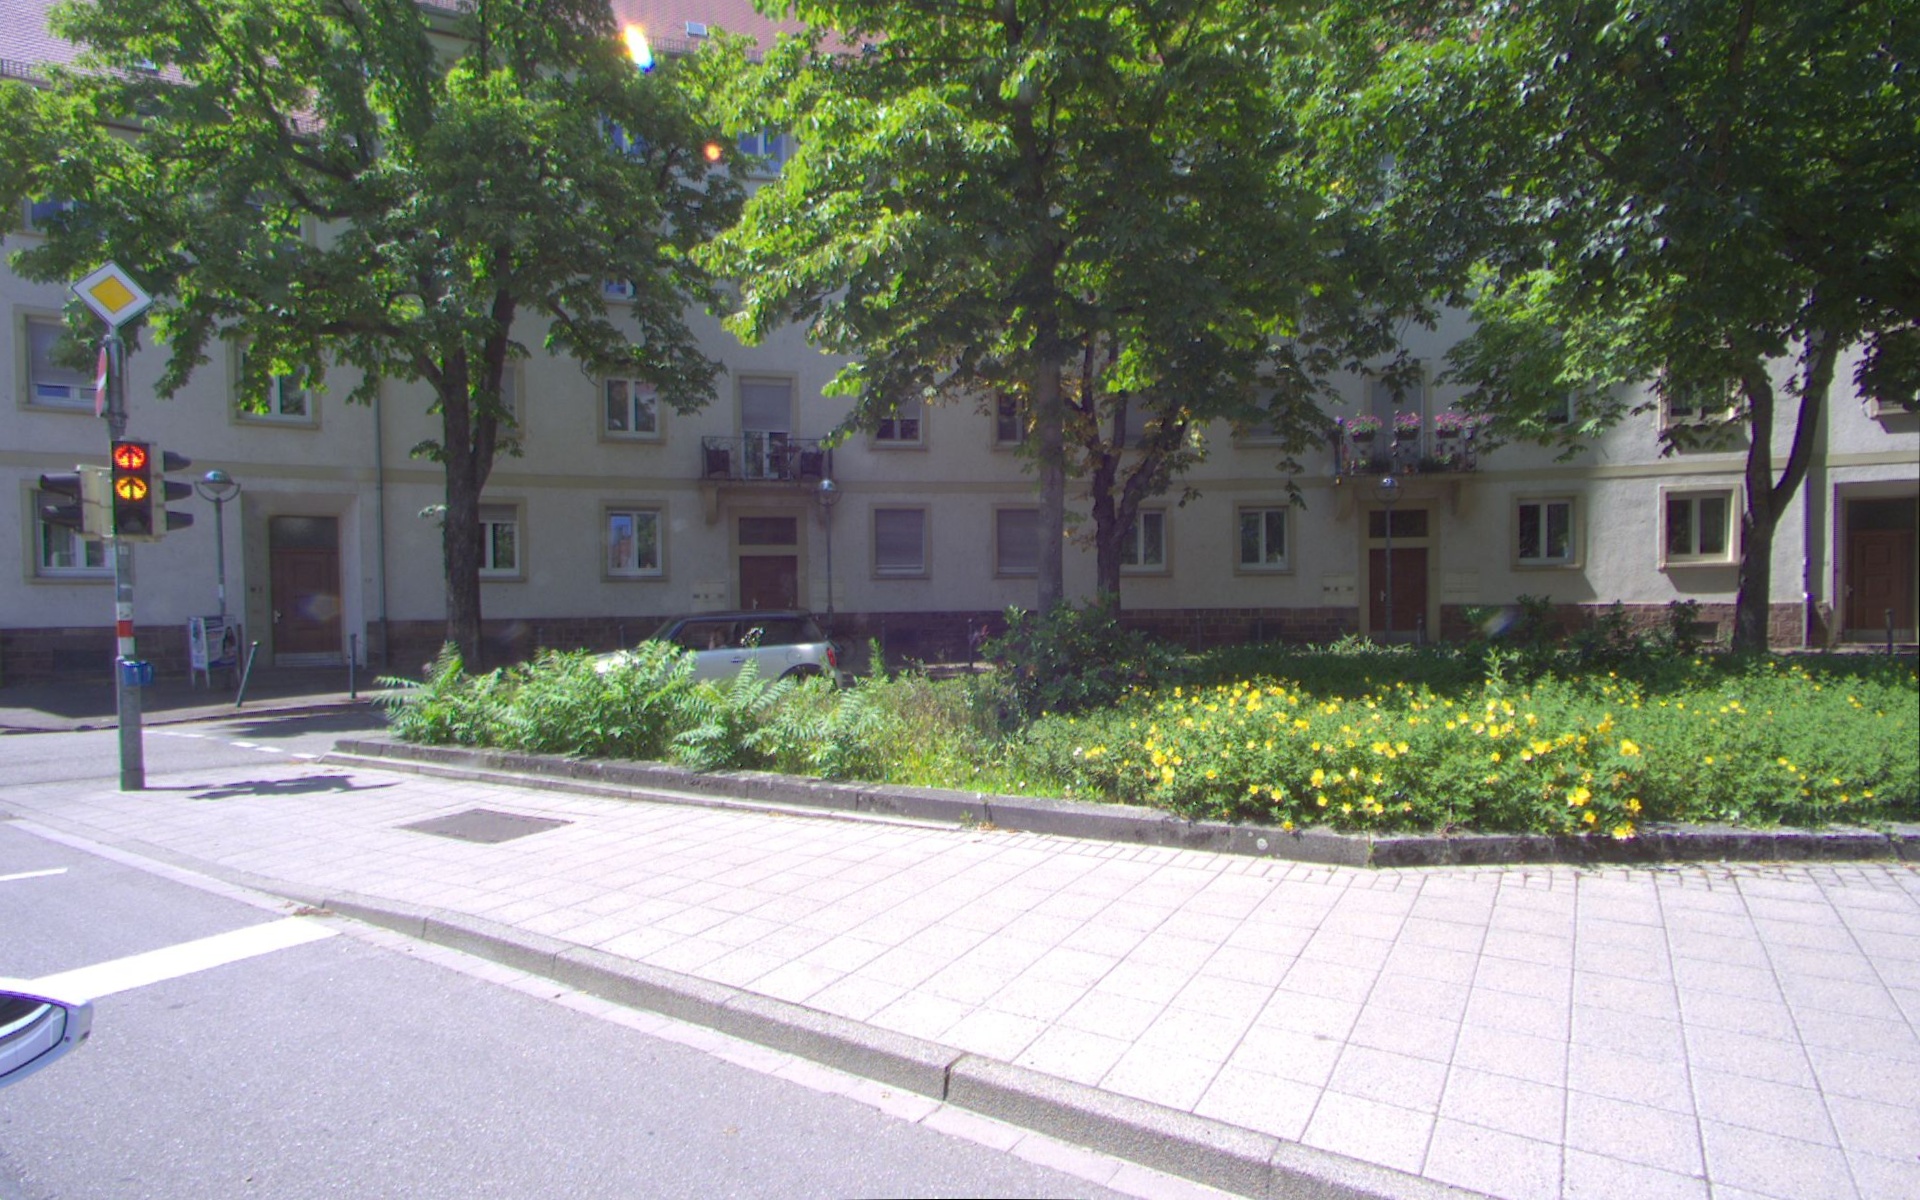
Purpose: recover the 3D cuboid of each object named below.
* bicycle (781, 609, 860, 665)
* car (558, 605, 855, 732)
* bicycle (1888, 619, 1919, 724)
[{"bbox_3d":[-2.888,0.764,20.865,1.575,1.119,0.525,-1,1,-4],"label":"bicycle"},{"bbox_3d":[-3.299,0.845,13.339,3.585,1.526,1.703,0,0,-14],"label":"car"},{"bbox_3d":[13.522,0.856,11.775,3.684,1.279,0.952,-1,-2,25],"label":"bicycle"}]
